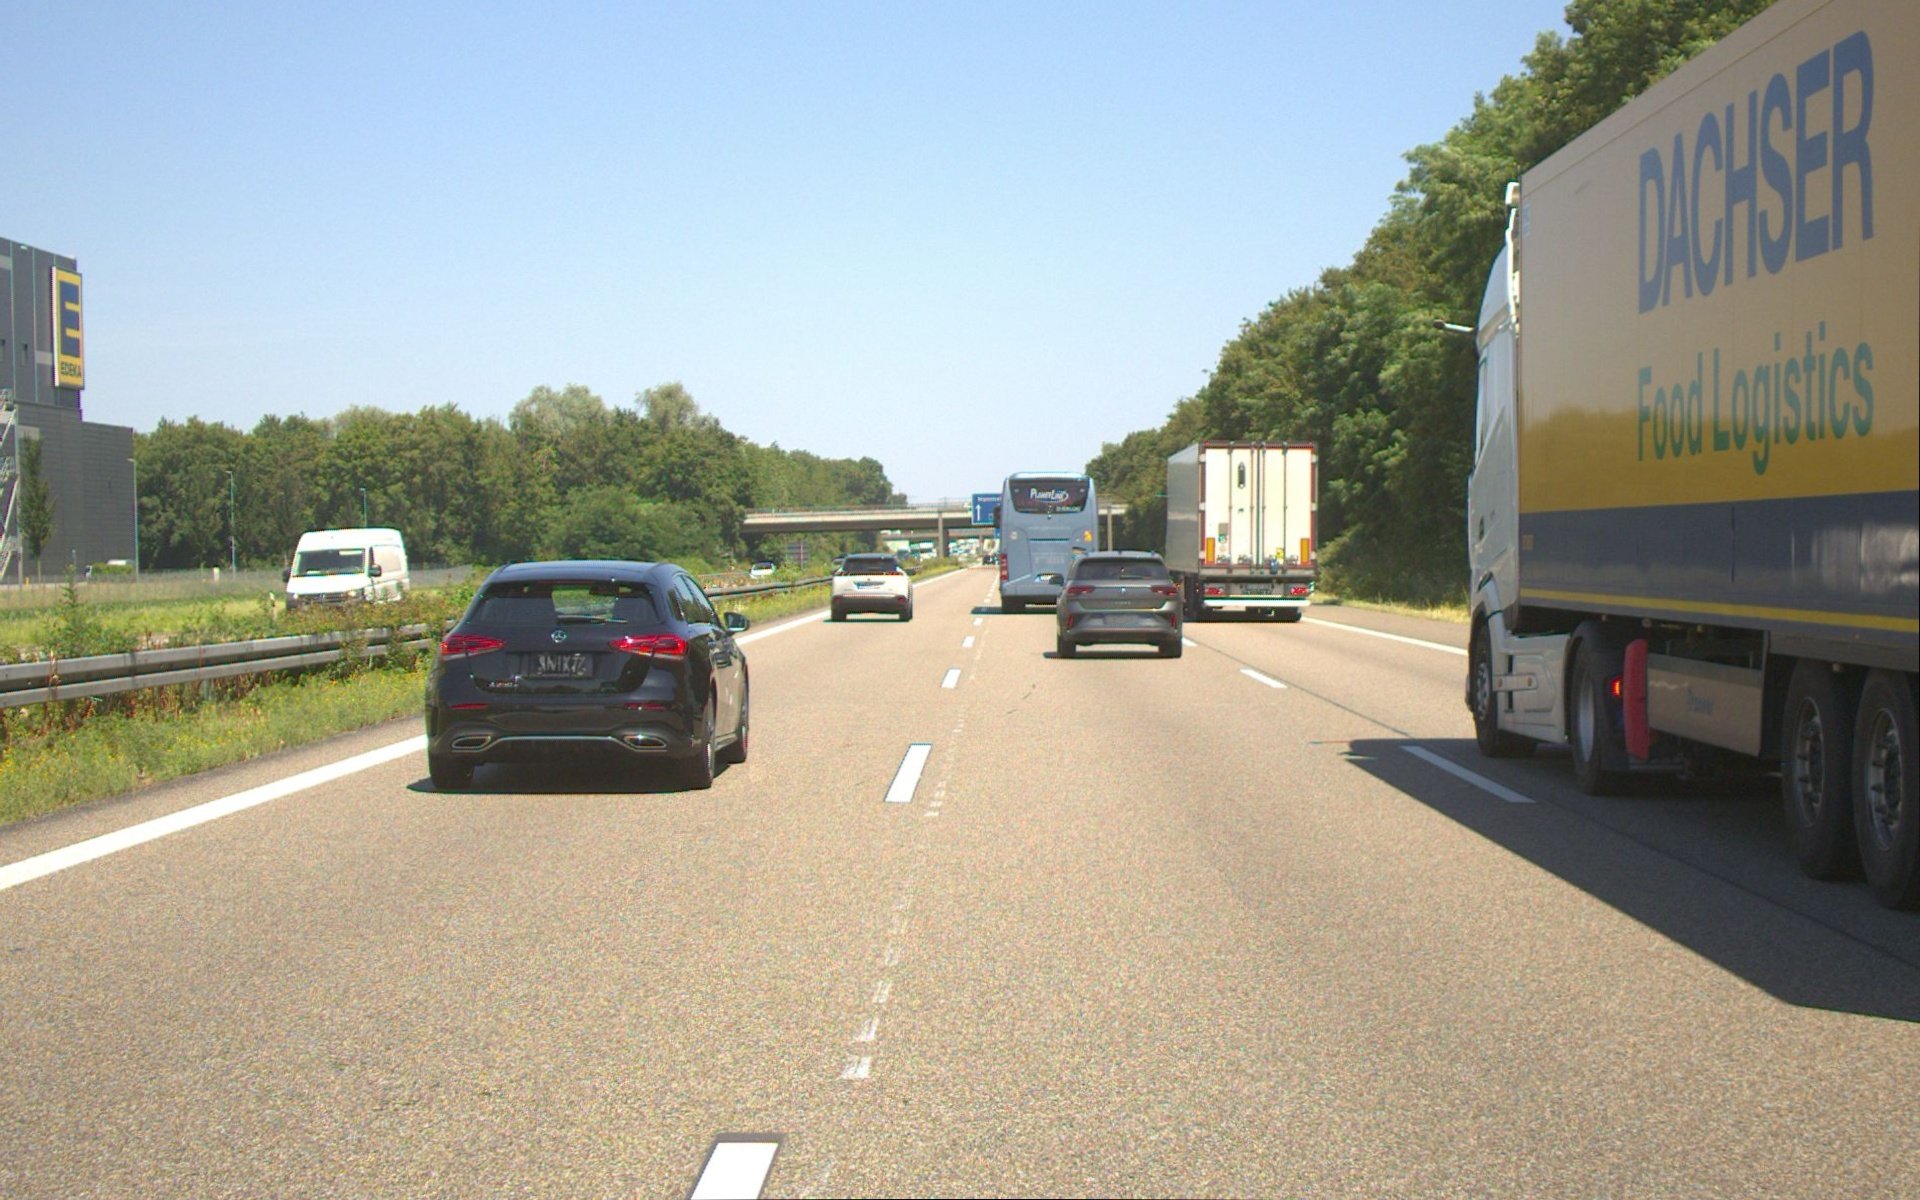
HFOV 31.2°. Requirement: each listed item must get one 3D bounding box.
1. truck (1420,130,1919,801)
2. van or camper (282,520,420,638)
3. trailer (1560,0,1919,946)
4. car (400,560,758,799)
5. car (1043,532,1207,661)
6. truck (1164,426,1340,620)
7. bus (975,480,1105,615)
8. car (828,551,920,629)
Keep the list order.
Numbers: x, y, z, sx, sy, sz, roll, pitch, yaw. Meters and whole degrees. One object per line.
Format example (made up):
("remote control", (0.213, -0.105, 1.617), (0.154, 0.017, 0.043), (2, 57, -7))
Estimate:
("truck", (5.056, -0.859, 23.908), (2.813, 3.993, 6.645), (-1, 1, 0))
("van or camper", (-15.125, -0.570, 85.713), (2.056, 2.770, 6.965), (-2, 1, 1))
("trailer", (5.005, -0.729, 14.966), (2.834, 3.940, 11.684), (0, 1, 0))
("car", (-2.419, 0.455, 22.754), (1.792, 1.407, 4.052), (0, 1, 2))
("car", (2.397, -0.098, 51.271), (2.216, 1.784, 5.393), (-1, 1, 1))
("truck", (6.608, -1.742, 79.215), (3.423, 4.112, 9.564), (-2, 1, 2))
("bus", (2.037, -1.387, 90.488), (3.062, 3.315, 8.275), (-2, 1, 0))
("car", (-1.930, -0.246, 78.424), (1.993, 1.722, 4.131), (0, 1, 0))
